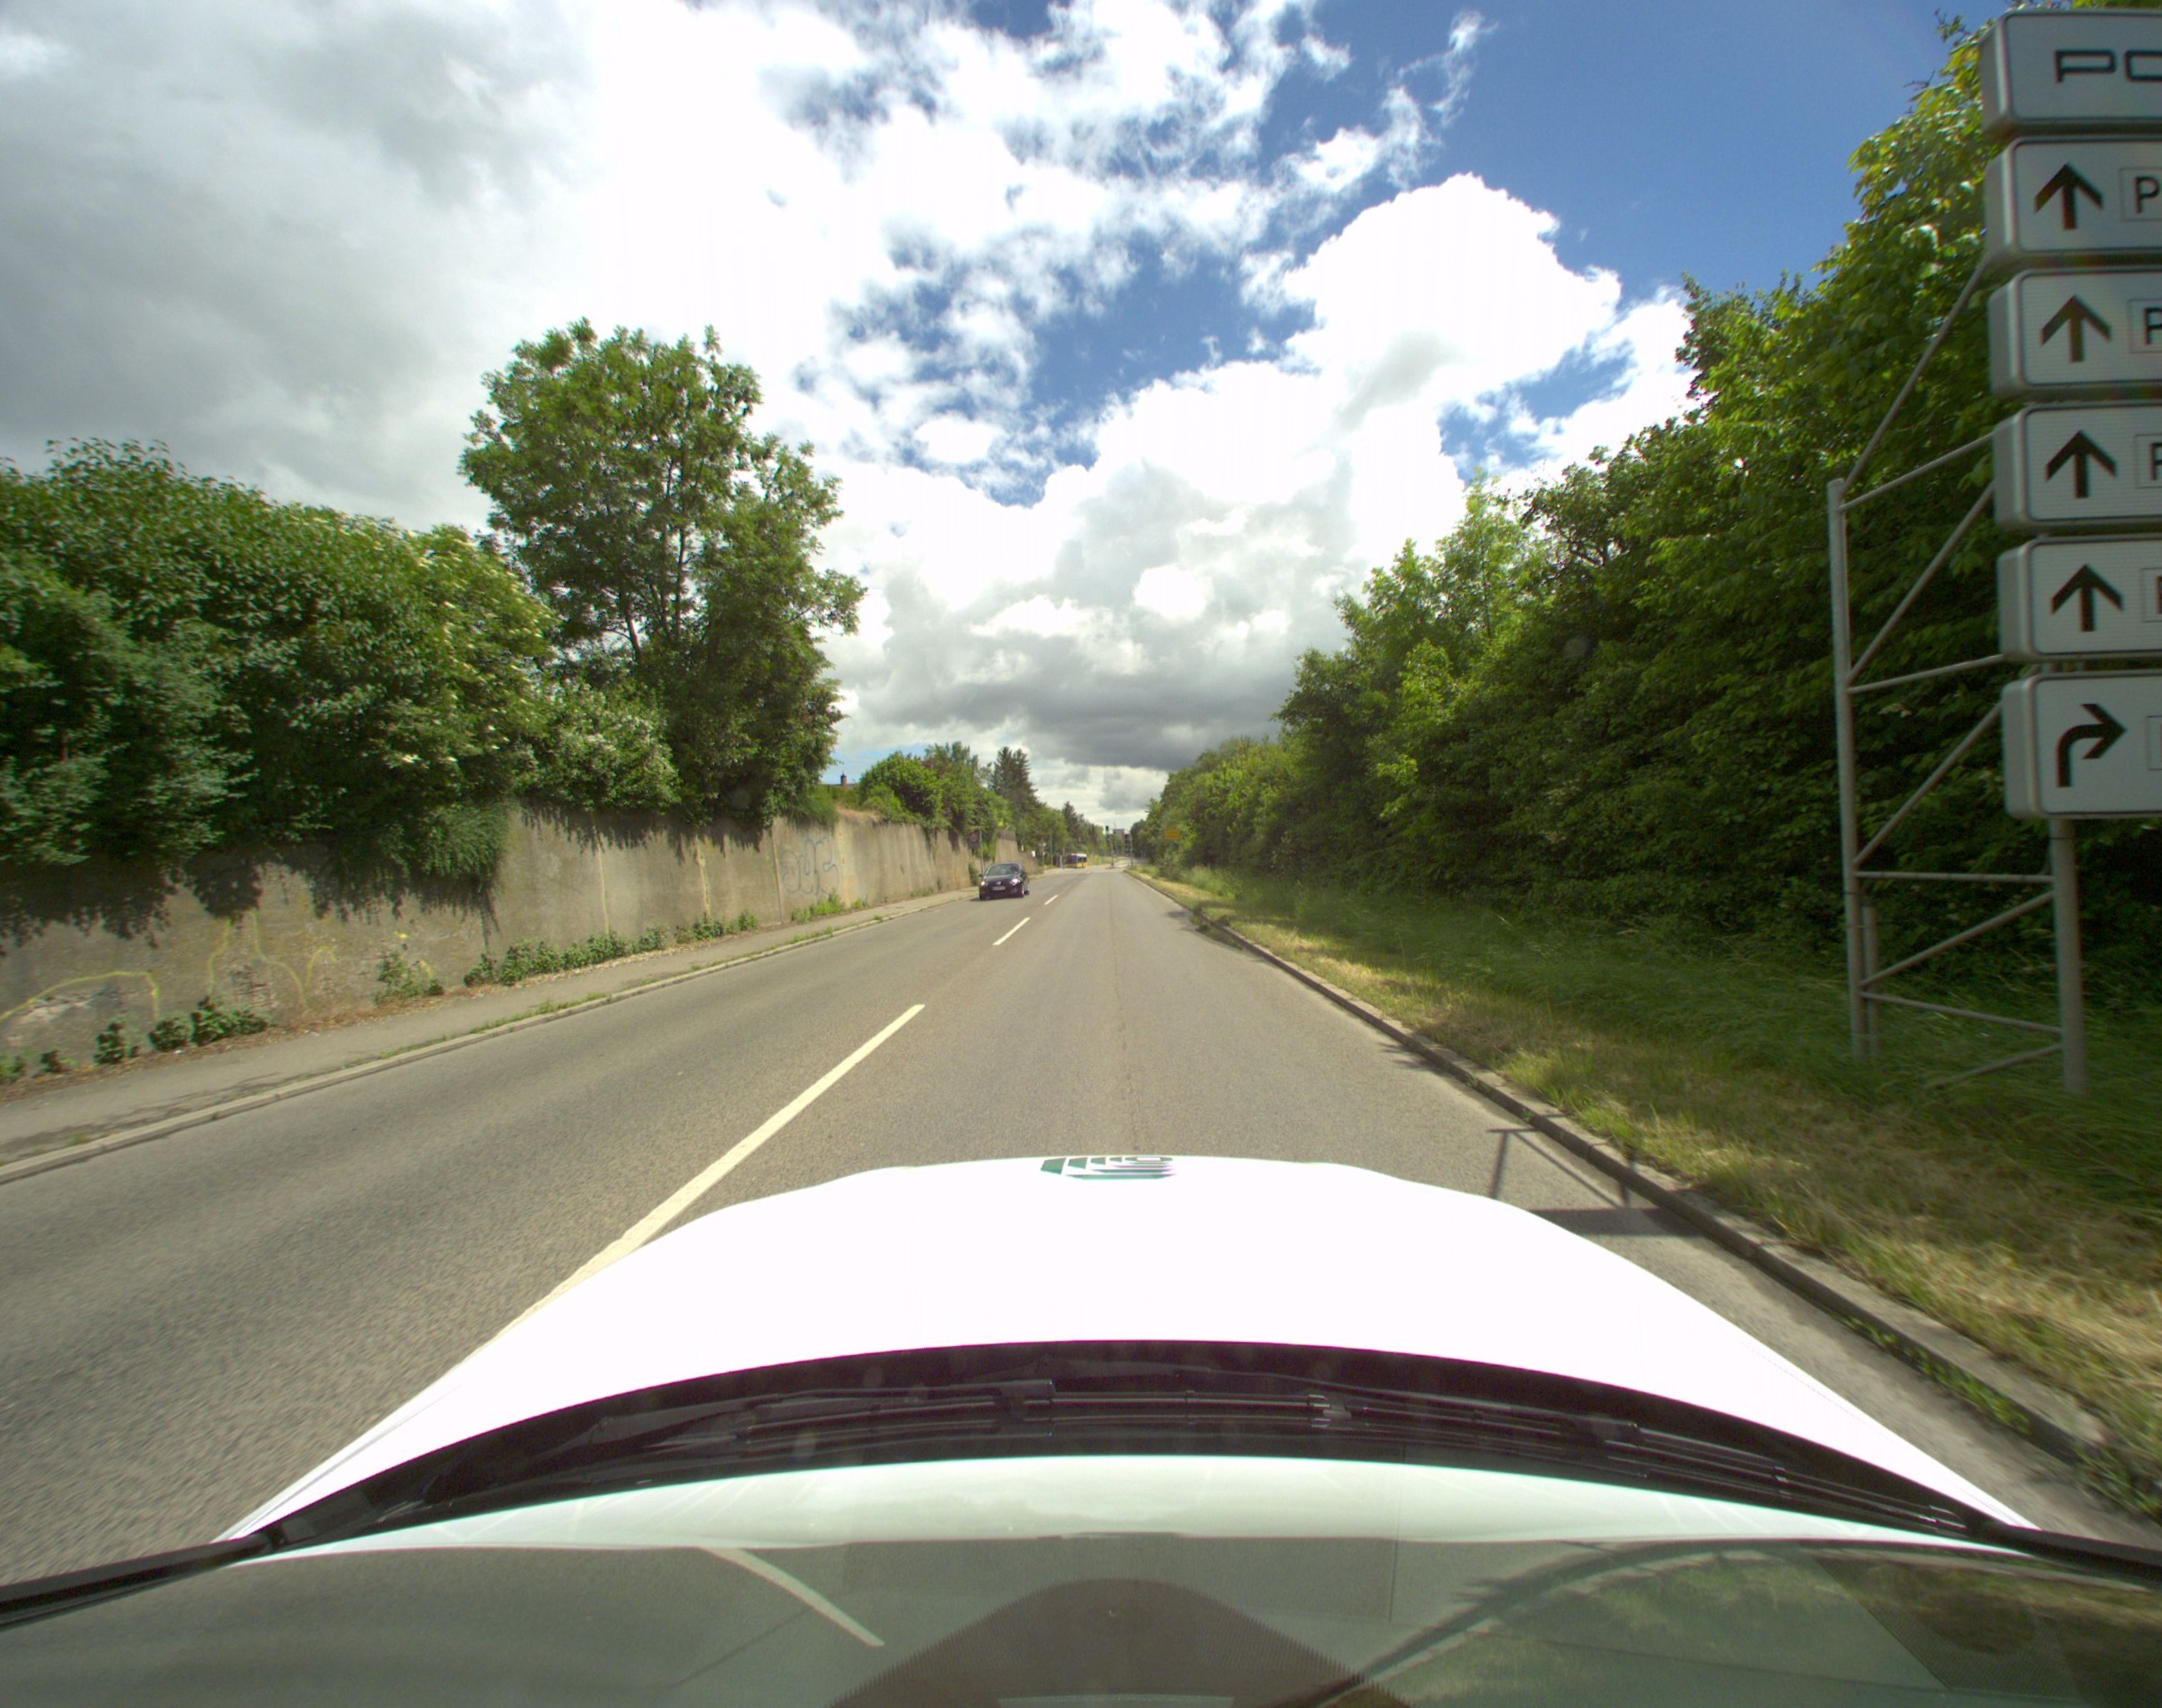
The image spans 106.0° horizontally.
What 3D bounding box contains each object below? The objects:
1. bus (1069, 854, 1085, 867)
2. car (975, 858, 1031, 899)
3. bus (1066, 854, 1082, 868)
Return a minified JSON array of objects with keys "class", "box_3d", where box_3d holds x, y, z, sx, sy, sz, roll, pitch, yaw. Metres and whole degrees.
[{"class":"bus","box_3d":[-0.862,1.419,183.619,2.881,2.899,7.678,0,1,5]},{"class":"car","box_3d":[-3.146,0.951,33.451,1.745,1.464,4.001,-3,0,1]},{"class":"bus","box_3d":[-1.466,1.532,175.898,2.881,2.899,7.678,0,1,5]}]
